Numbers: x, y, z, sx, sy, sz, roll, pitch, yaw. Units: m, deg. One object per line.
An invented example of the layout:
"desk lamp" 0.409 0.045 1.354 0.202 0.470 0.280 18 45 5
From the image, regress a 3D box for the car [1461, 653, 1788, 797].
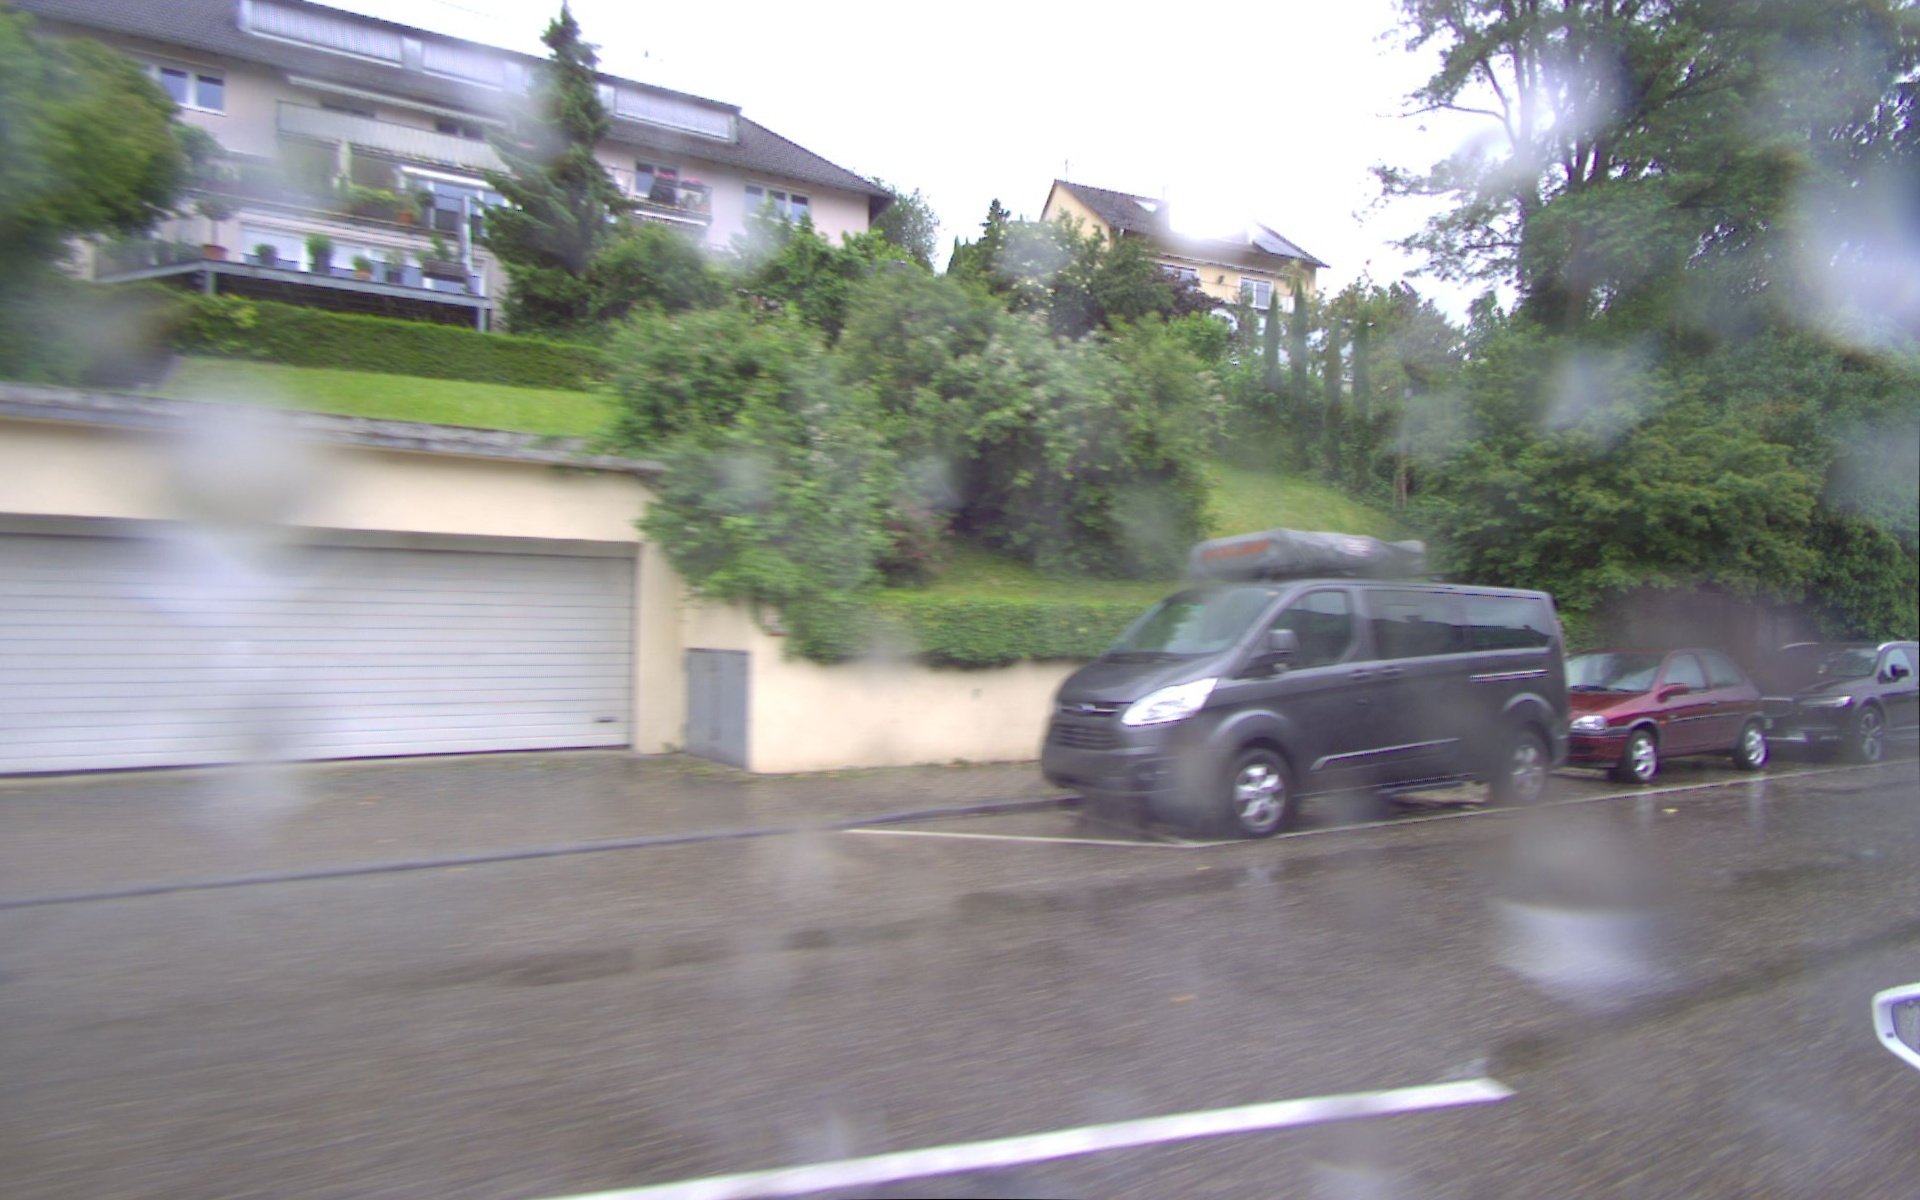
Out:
"car" 7.706 1.326 11.587 3.861 1.382 1.558 1 -3 -30

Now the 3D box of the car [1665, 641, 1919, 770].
"car" 11.990 1.342 13.690 4.694 1.499 1.902 1 -4 -27

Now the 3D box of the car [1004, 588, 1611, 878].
"car" 3.187 0.977 8.972 5.257 1.944 2.150 1 -3 -29
